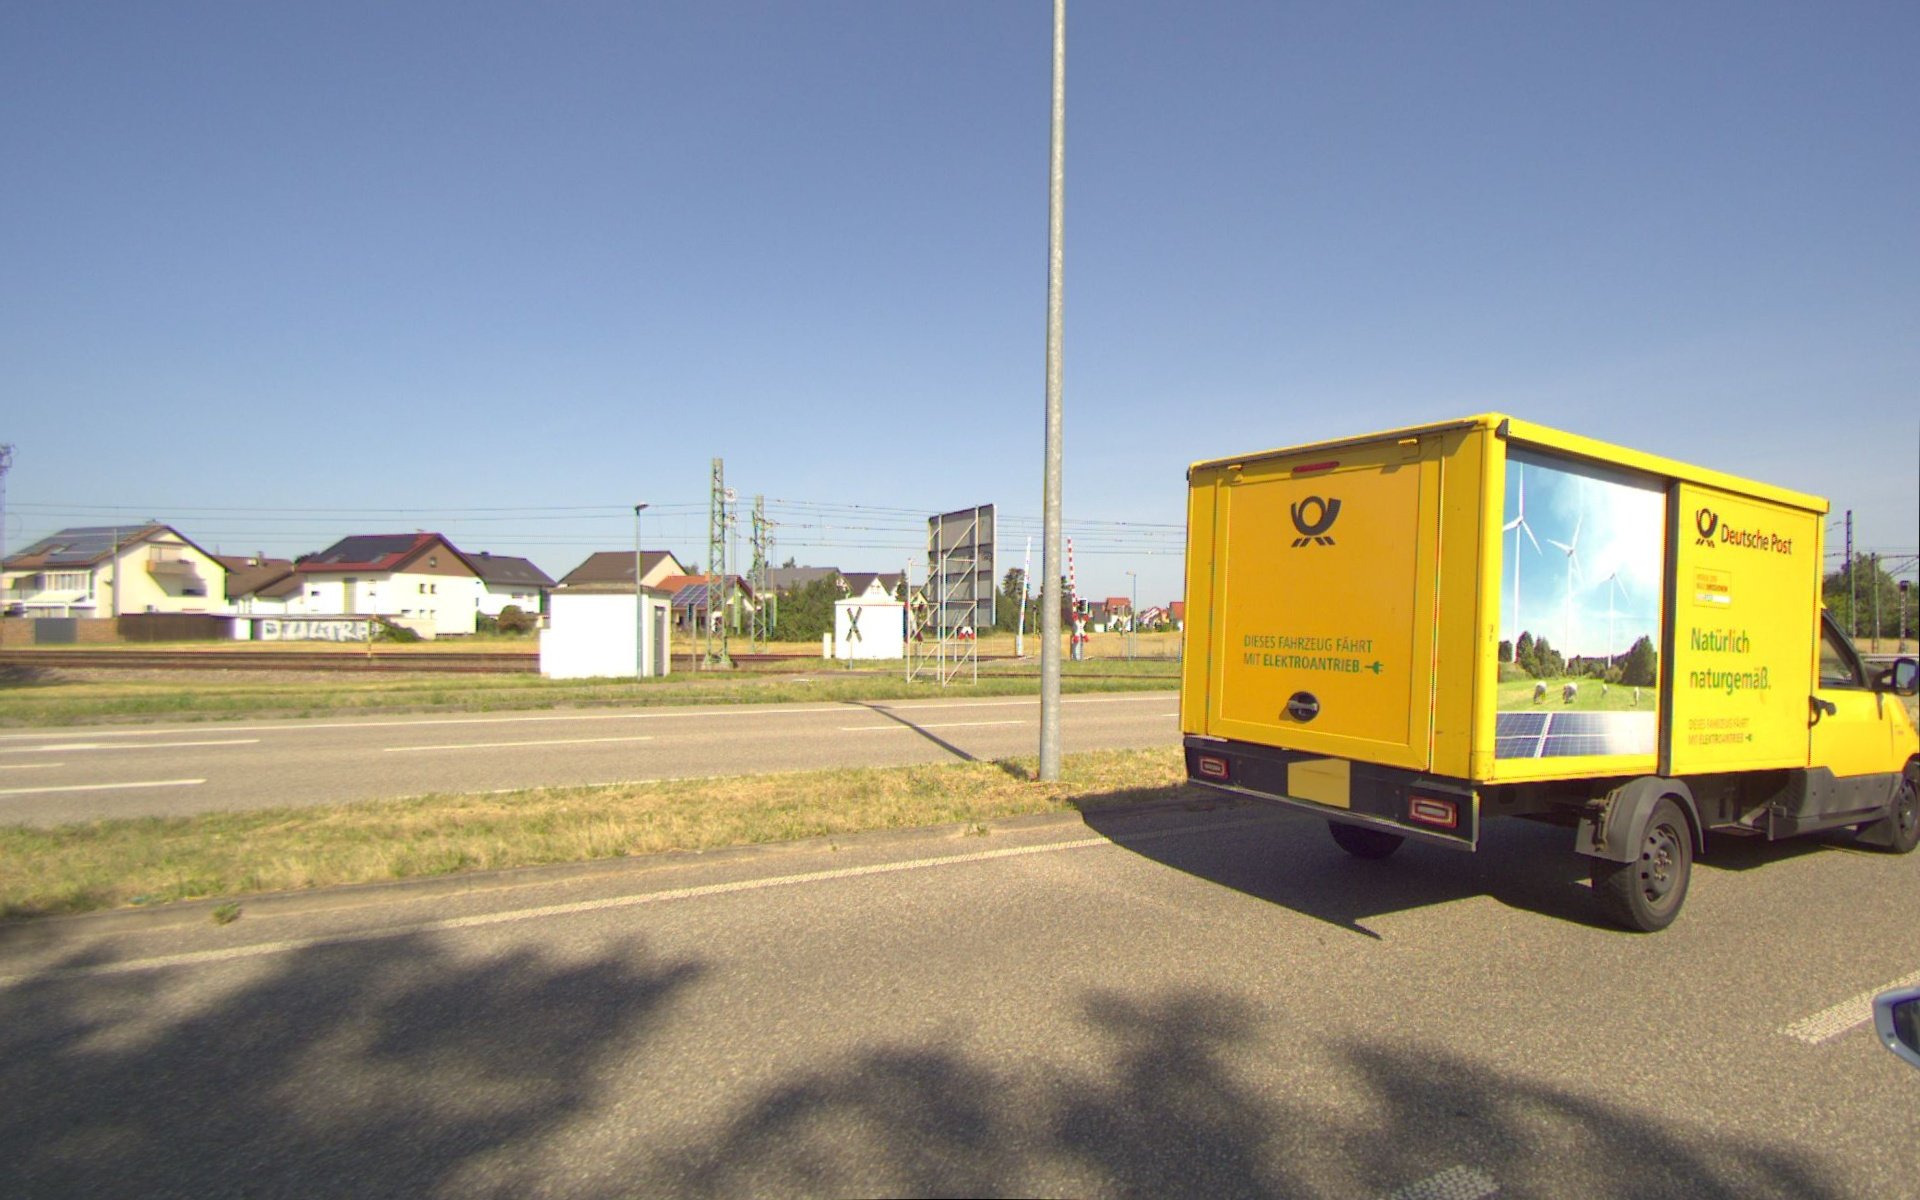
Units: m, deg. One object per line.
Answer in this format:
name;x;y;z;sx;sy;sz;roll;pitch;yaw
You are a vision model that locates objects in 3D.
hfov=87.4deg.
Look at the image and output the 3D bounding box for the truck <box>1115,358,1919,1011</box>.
truck;3.911;0.377;6.278;5.850;2.490;2.100;1;0;-32
